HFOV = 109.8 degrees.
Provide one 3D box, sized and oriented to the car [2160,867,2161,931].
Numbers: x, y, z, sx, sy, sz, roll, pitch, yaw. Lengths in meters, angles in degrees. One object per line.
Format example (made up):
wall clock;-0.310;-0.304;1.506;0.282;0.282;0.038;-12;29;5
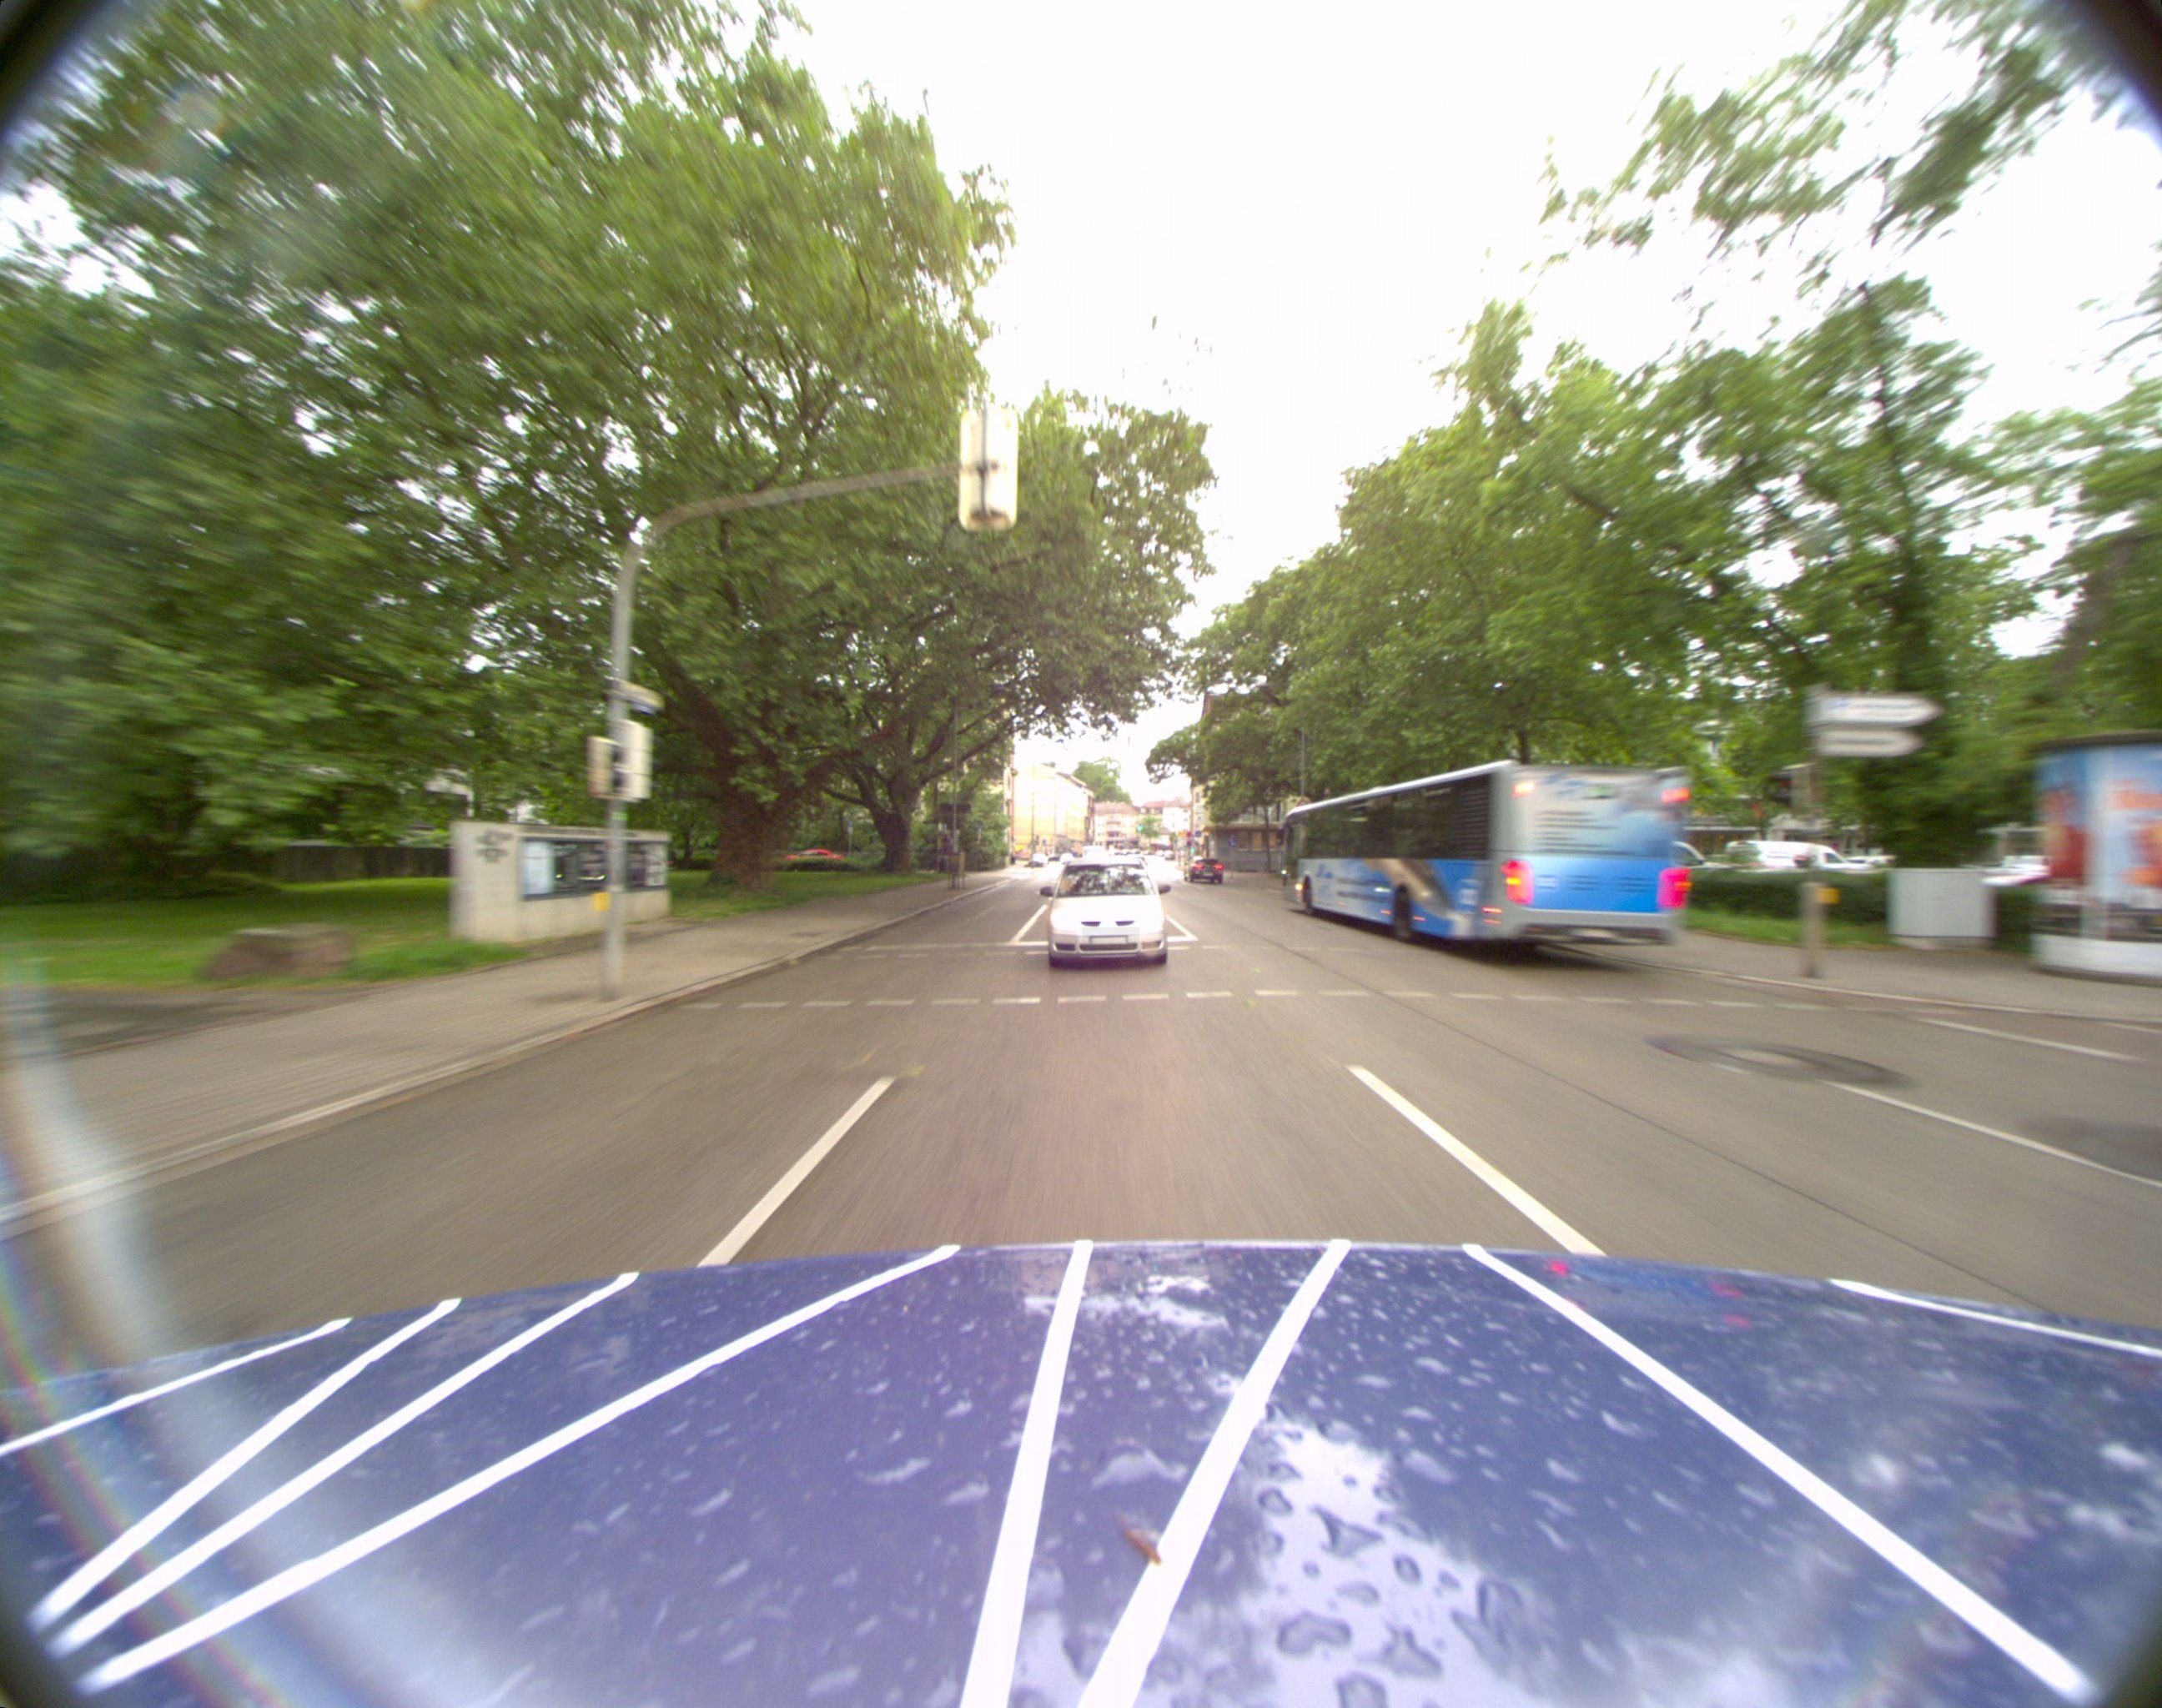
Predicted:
car;29.669;1.187;19.039;3.745;1.654;1.701;1;0;-12

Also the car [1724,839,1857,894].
car;34.914;0.598;37.478;4.580;2.597;2.000;1;0;2

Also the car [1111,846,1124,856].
car;5.867;-0.449;122.356;1.906;1.537;4.000;0;1;2

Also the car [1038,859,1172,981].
car;0.332;0.880;12.324;1.718;1.509;4.807;-1;0;0

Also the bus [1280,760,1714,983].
bus;7.131;0.165;16.205;2.700;2.923;12.083;1;1;1

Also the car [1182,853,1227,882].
car;7.044;0.748;43.813;1.802;1.508;4.807;2;0;0

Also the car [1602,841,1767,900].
car;20.743;0.548;26.226;4.334;1.911;1.702;1;0;-2

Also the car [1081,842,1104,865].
car;1.076;-0.077;70.423;2.037;2.119;4.000;0;1;2

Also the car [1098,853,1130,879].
car;2.068;0.709;46.570;1.800;1.449;4.492;1;0;4

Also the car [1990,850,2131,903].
car;50.778;1.126;39.466;4.580;2.597;2.000;1;0;2

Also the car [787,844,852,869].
car;-18.799;0.202;54.685;3.998;1.706;1.999;1;0;-2

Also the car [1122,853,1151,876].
car;4.028;0.747;55.596;1.802;1.508;4.580;2;0;0

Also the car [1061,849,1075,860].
car;-1.951;0.067;116.395;1.906;1.537;4.000;0;1;2

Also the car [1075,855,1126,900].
car;0.672;0.784;27.760;1.718;1.509;4.088;0;0;0

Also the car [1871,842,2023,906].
car;37.220;0.834;32.732;4.584;2.597;1.999;1;0;-6
